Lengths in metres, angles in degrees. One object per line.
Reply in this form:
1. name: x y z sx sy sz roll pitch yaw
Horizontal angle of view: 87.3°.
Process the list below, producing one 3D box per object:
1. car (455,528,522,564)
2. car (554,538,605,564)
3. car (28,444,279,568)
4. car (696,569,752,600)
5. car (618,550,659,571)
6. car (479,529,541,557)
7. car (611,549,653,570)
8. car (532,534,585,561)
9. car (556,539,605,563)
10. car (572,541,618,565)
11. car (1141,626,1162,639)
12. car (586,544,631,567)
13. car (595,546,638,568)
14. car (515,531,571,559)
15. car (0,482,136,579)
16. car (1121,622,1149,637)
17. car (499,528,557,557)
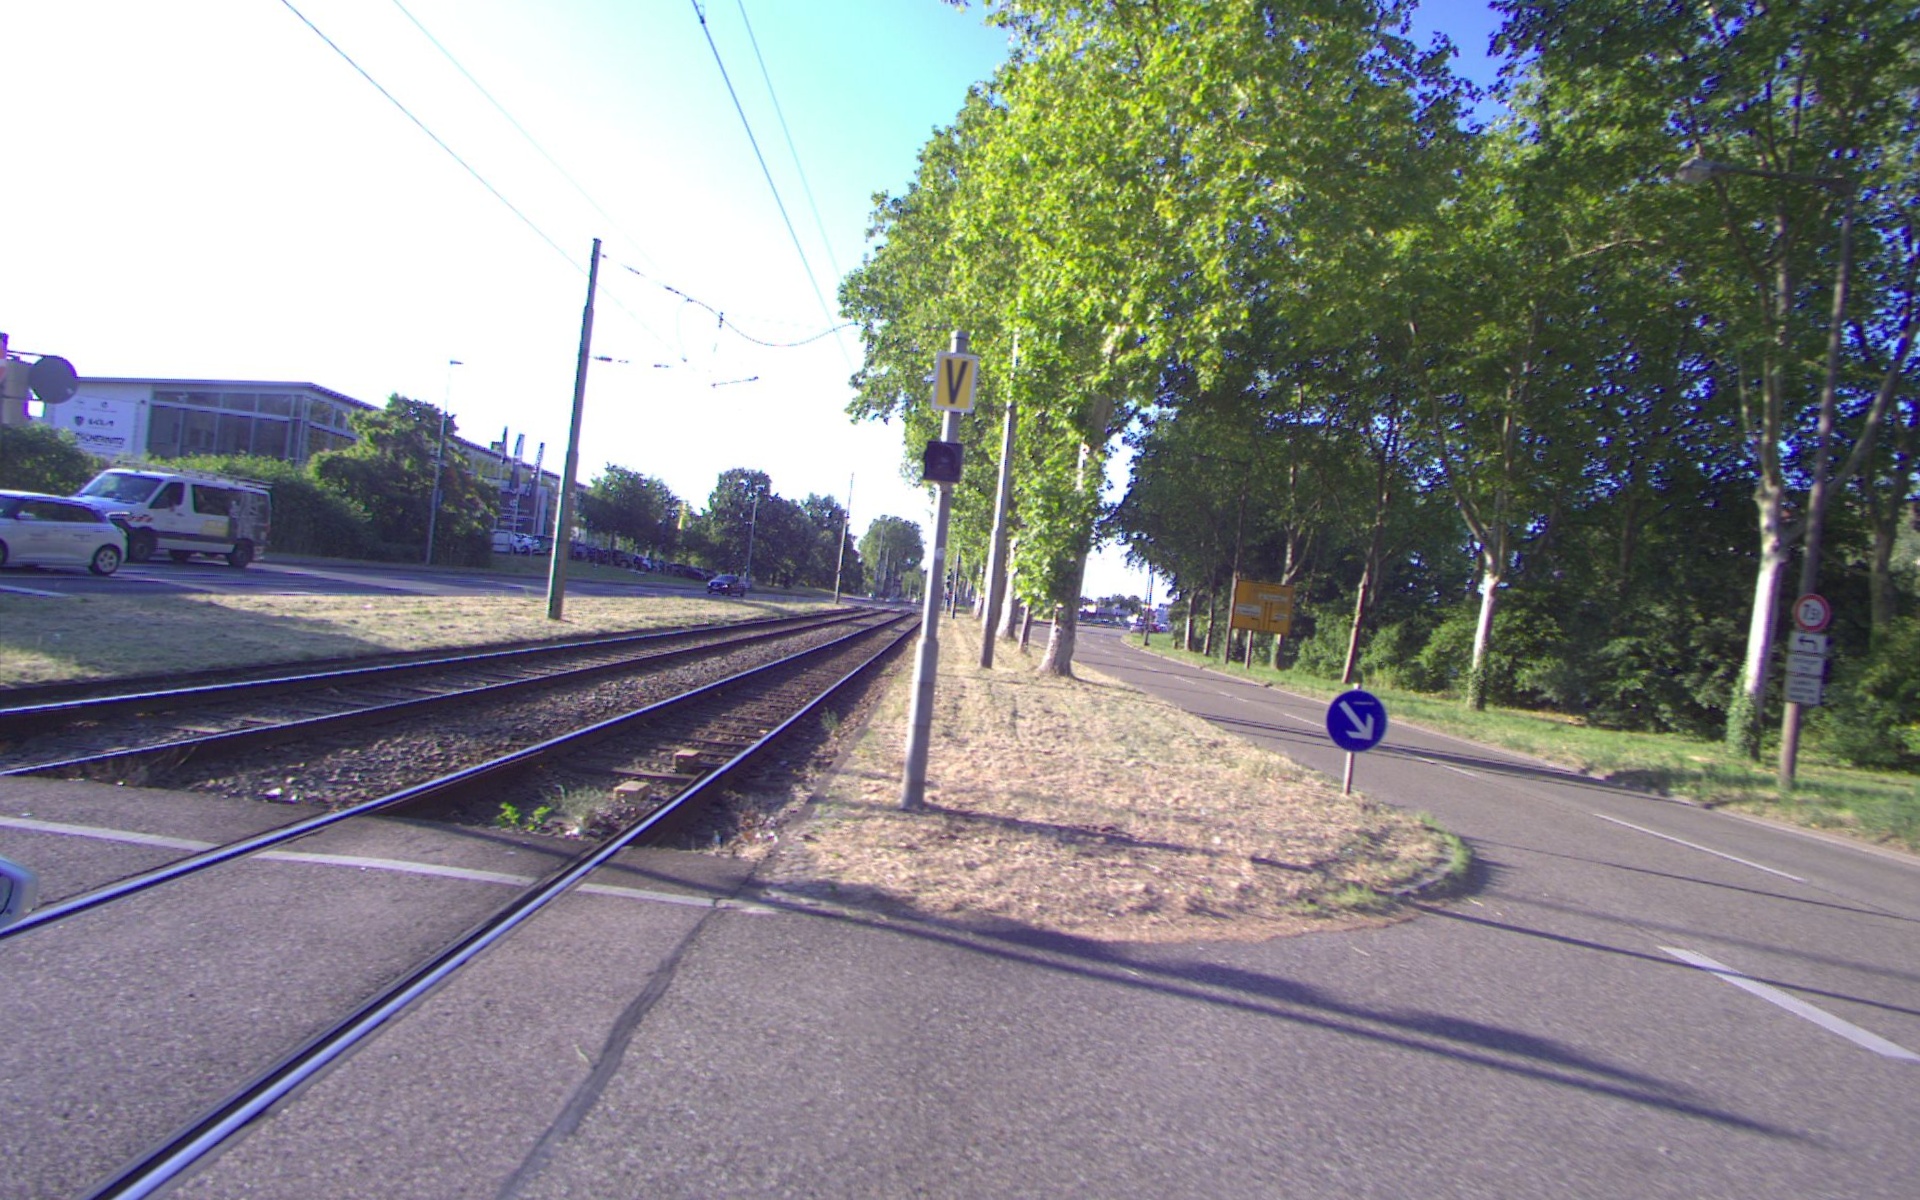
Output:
1. car: -32.108 -3.646 68.583 3.747 1.882 1.752 8 0 -20
2. car: -32.025 -4.116 84.760 3.747 1.586 1.752 8 0 -20
3. car: -22.056 -2.429 27.961 1.973 2.597 5.875 7 0 0
4. car: -16.305 -1.028 69.596 1.780 1.704 4.001 7 0 18
5. car: -32.841 -4.027 102.729 3.747 1.586 1.752 8 0 -20
6. car: -32.085 -4.022 71.836 3.747 1.405 1.752 8 0 -20
7. car: -32.584 -4.027 99.943 3.747 1.586 1.752 8 0 -20
8. car: -32.457 -4.247 81.347 3.747 1.586 1.752 8 0 -20
9. car: -32.944 -4.237 87.389 3.747 1.586 1.752 8 0 -20
10. car: -32.766 -4.174 90.377 3.747 1.586 1.752 8 0 -20
11. car: 26.760 4.486 140.532 1.963 1.457 4.000 8 0 21
12. car: -32.731 -4.126 93.767 3.747 1.586 1.752 8 0 -20
13. car: -32.973 -4.124 96.569 3.747 1.586 1.752 8 0 -20
14. car: -32.578 -4.298 78.687 3.747 1.586 1.752 8 0 -20
15. car: -18.104 -1.401 18.874 1.842 1.637 4.000 8 0 0
16. car: 22.732 3.886 130.438 1.968 1.459 3.990 8 0 34
17. car: -32.365 -4.309 75.456 3.747 1.586 1.752 8 0 -20
